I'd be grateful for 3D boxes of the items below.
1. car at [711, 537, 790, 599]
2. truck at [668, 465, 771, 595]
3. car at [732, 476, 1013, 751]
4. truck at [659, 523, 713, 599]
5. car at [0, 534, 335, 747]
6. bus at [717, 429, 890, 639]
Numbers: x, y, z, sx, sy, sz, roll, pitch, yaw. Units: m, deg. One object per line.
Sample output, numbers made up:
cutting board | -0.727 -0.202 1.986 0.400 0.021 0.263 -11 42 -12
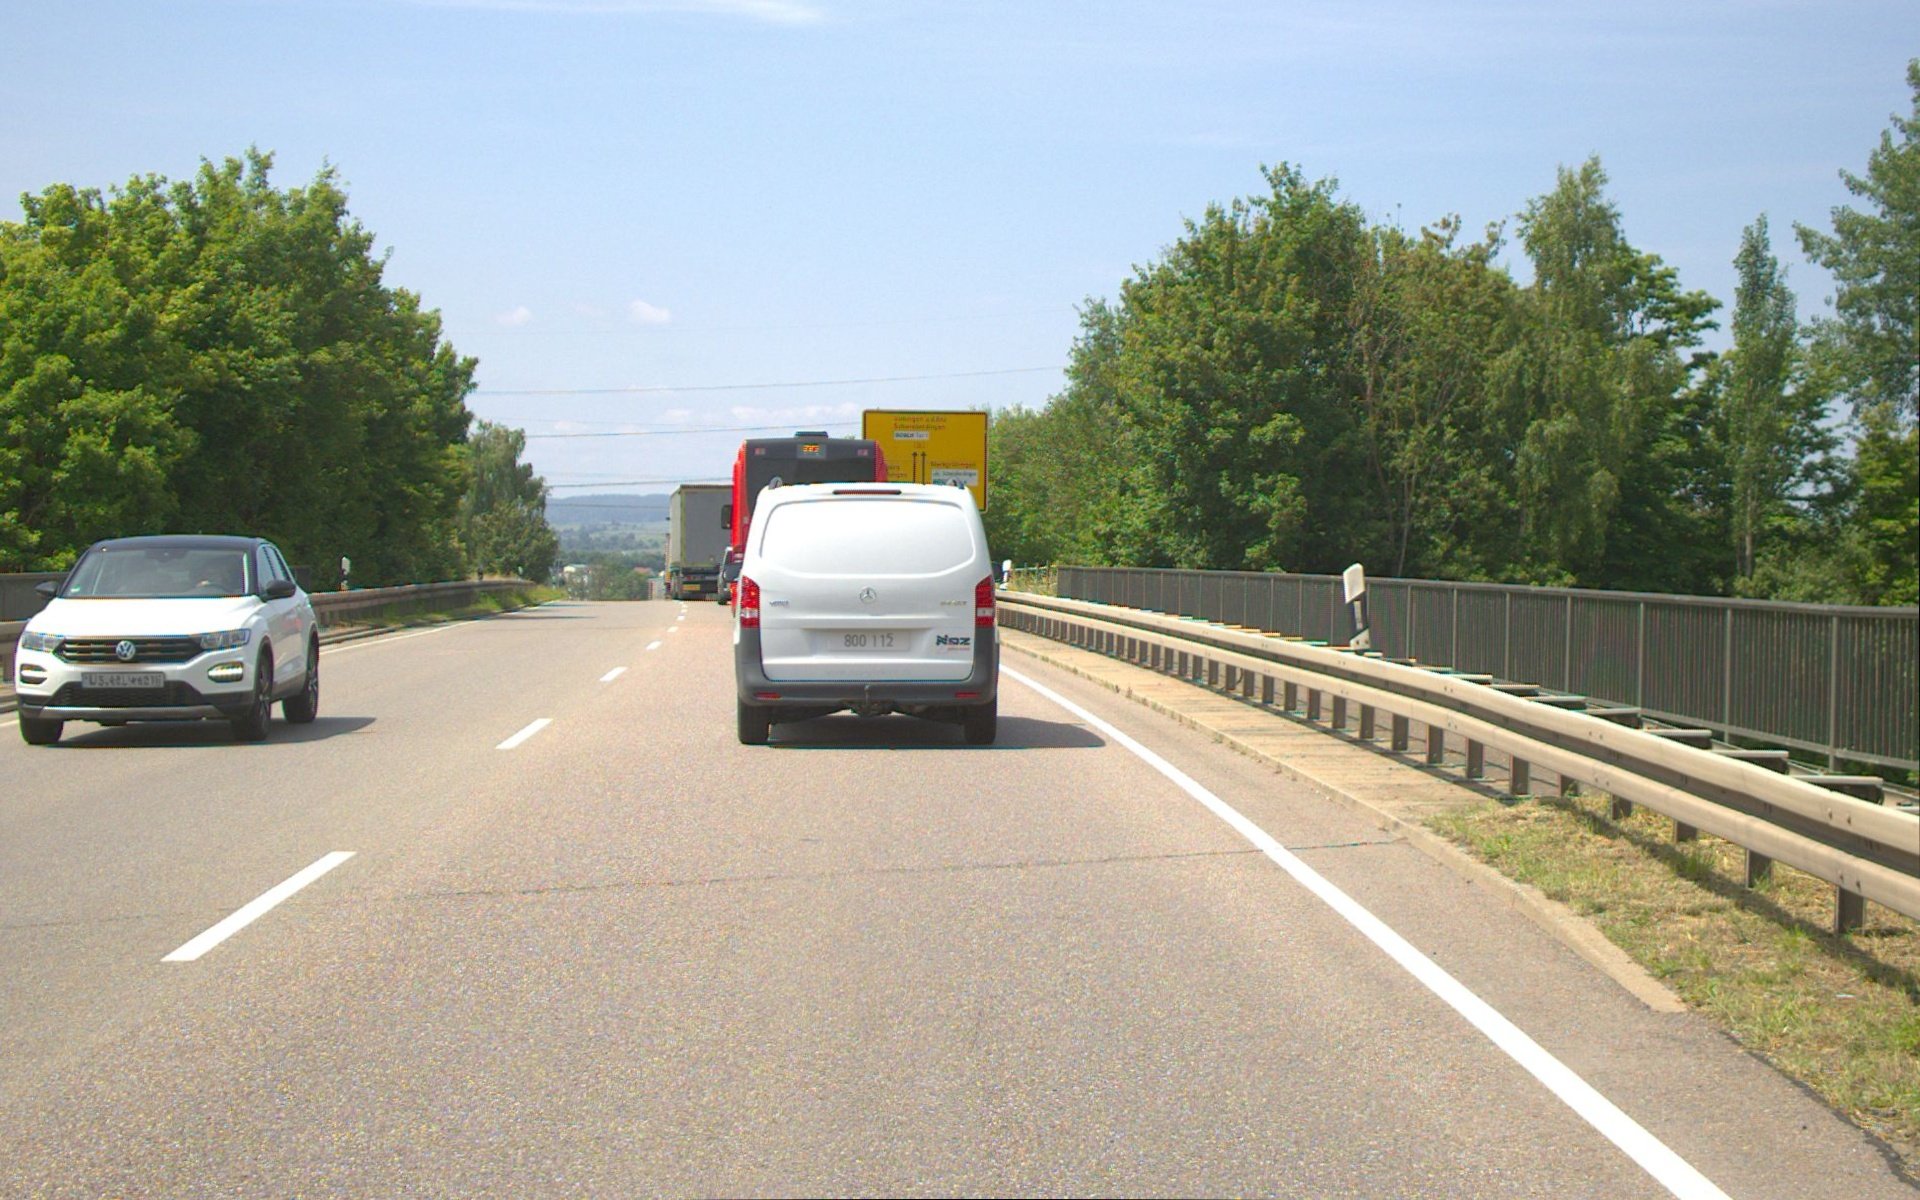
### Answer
car | -6.244 -0.962 102.286 1.993 1.809 4.001 1 1 -8
truck | -8.773 -2.565 124.967 3.488 4.408 14.905 0 1 -4
car | -0.684 0.049 25.777 1.923 1.883 4.001 1 1 -2
truck | -16.799 -2.474 210.143 3.034 4.439 14.906 0 1 -5
car | -6.159 0.245 27.000 1.879 1.506 4.544 0 1 -3
bus | -2.825 -1.186 61.640 2.747 3.342 13.223 0 1 -3
